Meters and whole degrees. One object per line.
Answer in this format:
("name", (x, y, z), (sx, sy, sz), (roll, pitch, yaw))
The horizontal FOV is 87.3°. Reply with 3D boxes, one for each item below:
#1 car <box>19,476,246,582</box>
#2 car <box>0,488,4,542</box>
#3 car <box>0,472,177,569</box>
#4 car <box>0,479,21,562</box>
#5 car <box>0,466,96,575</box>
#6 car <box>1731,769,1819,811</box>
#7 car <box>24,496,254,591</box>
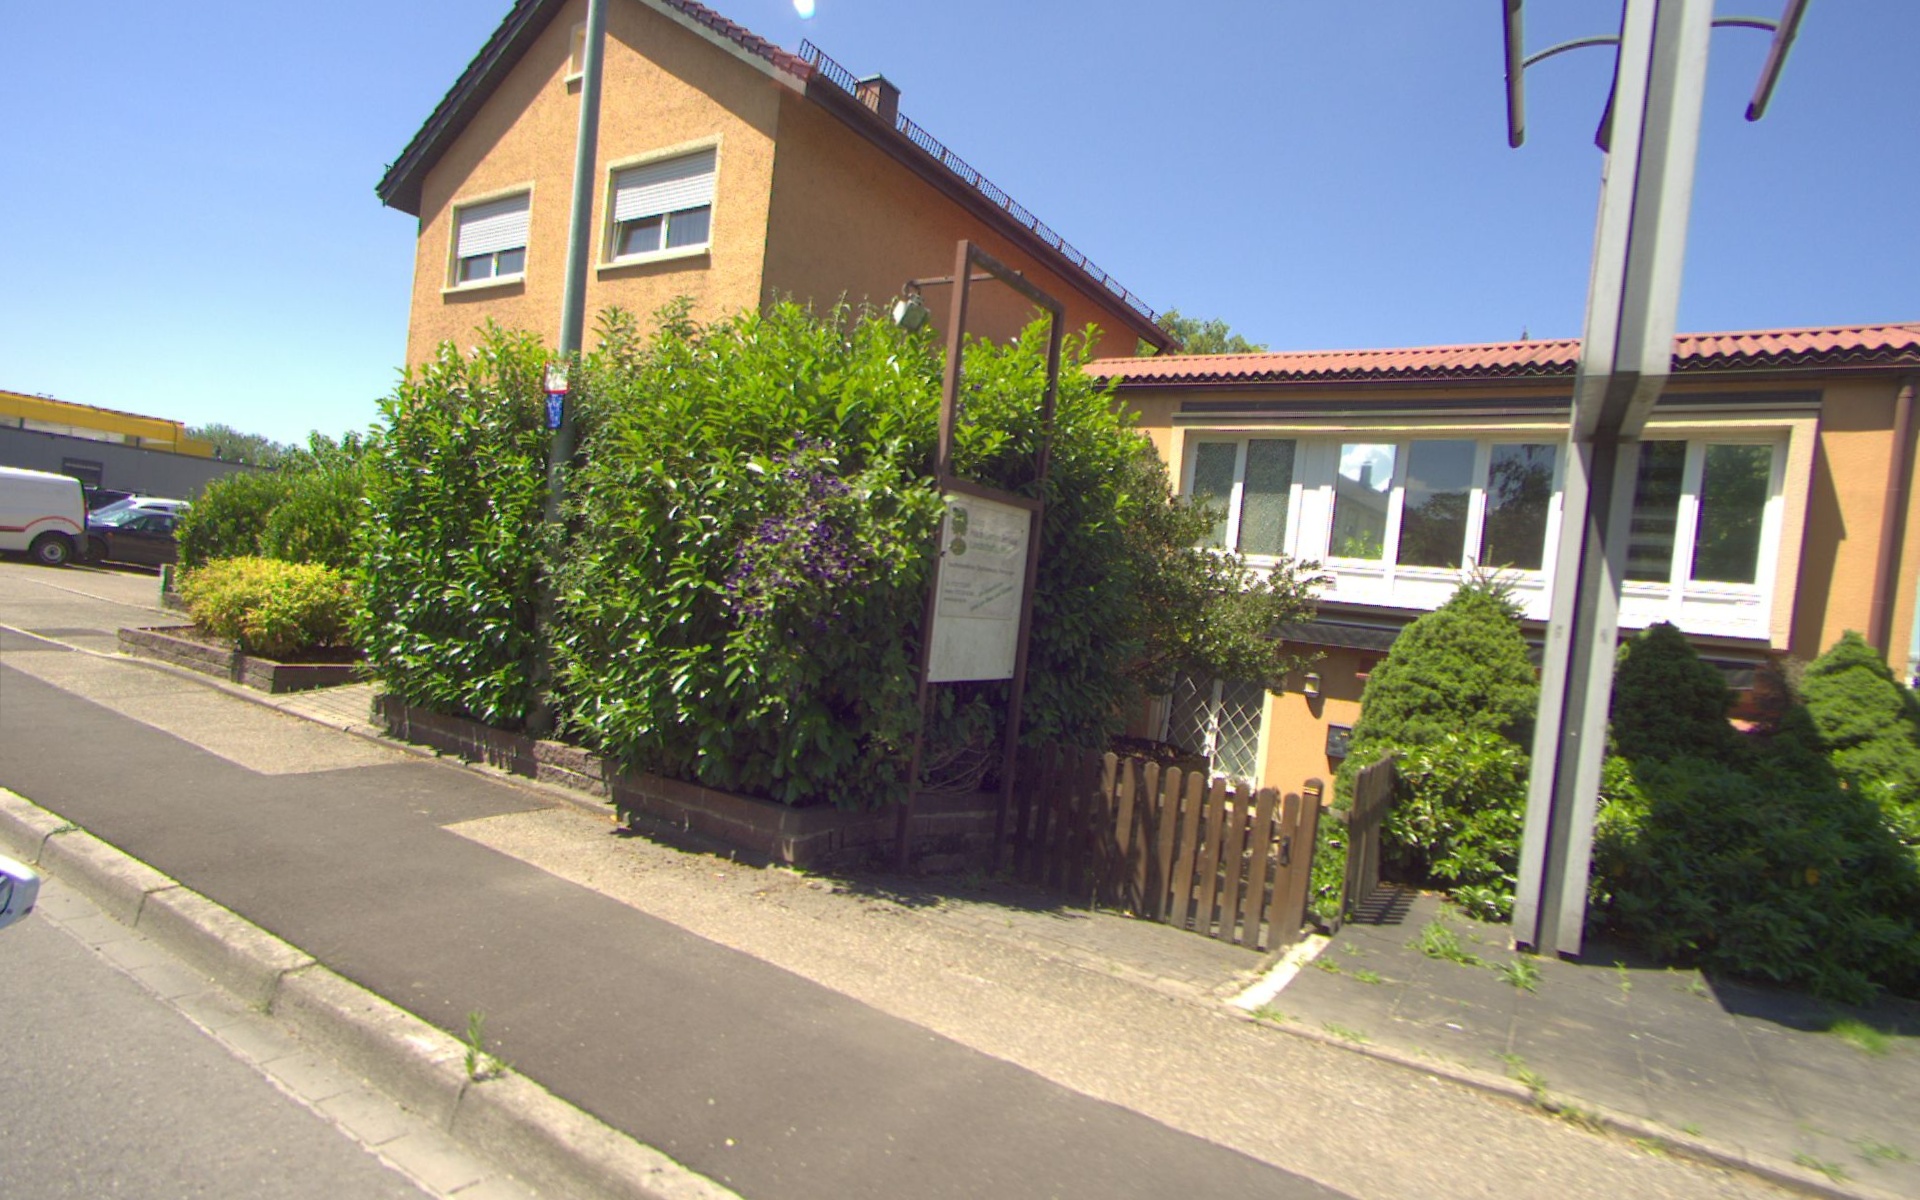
("car", (-20.563, -1.718, 25.152), (1.661, 1.858, 3.902), (7, -3, 34))
("car", (-23.206, -1.935, 21.409), (1.804, 1.529, 3.794), (7, 1, 33))
("car", (-24.686, -2.214, 27.703), (1.938, 1.917, 4.353), (7, -3, 30))
("car", (-21.516, -1.832, 19.917), (1.733, 1.702, 3.880), (7, 1, 30))
("car", (-19.530, -1.726, 19.202), (1.776, 1.962, 4.143), (7, 0, 27))
("car", (49.501, 11.528, 61.190), (3.868, 1.709, 1.720), (6, -2, 36))
("car", (-19.176, -1.283, 23.656), (1.915, 1.483, 3.618), (7, -3, 28))
